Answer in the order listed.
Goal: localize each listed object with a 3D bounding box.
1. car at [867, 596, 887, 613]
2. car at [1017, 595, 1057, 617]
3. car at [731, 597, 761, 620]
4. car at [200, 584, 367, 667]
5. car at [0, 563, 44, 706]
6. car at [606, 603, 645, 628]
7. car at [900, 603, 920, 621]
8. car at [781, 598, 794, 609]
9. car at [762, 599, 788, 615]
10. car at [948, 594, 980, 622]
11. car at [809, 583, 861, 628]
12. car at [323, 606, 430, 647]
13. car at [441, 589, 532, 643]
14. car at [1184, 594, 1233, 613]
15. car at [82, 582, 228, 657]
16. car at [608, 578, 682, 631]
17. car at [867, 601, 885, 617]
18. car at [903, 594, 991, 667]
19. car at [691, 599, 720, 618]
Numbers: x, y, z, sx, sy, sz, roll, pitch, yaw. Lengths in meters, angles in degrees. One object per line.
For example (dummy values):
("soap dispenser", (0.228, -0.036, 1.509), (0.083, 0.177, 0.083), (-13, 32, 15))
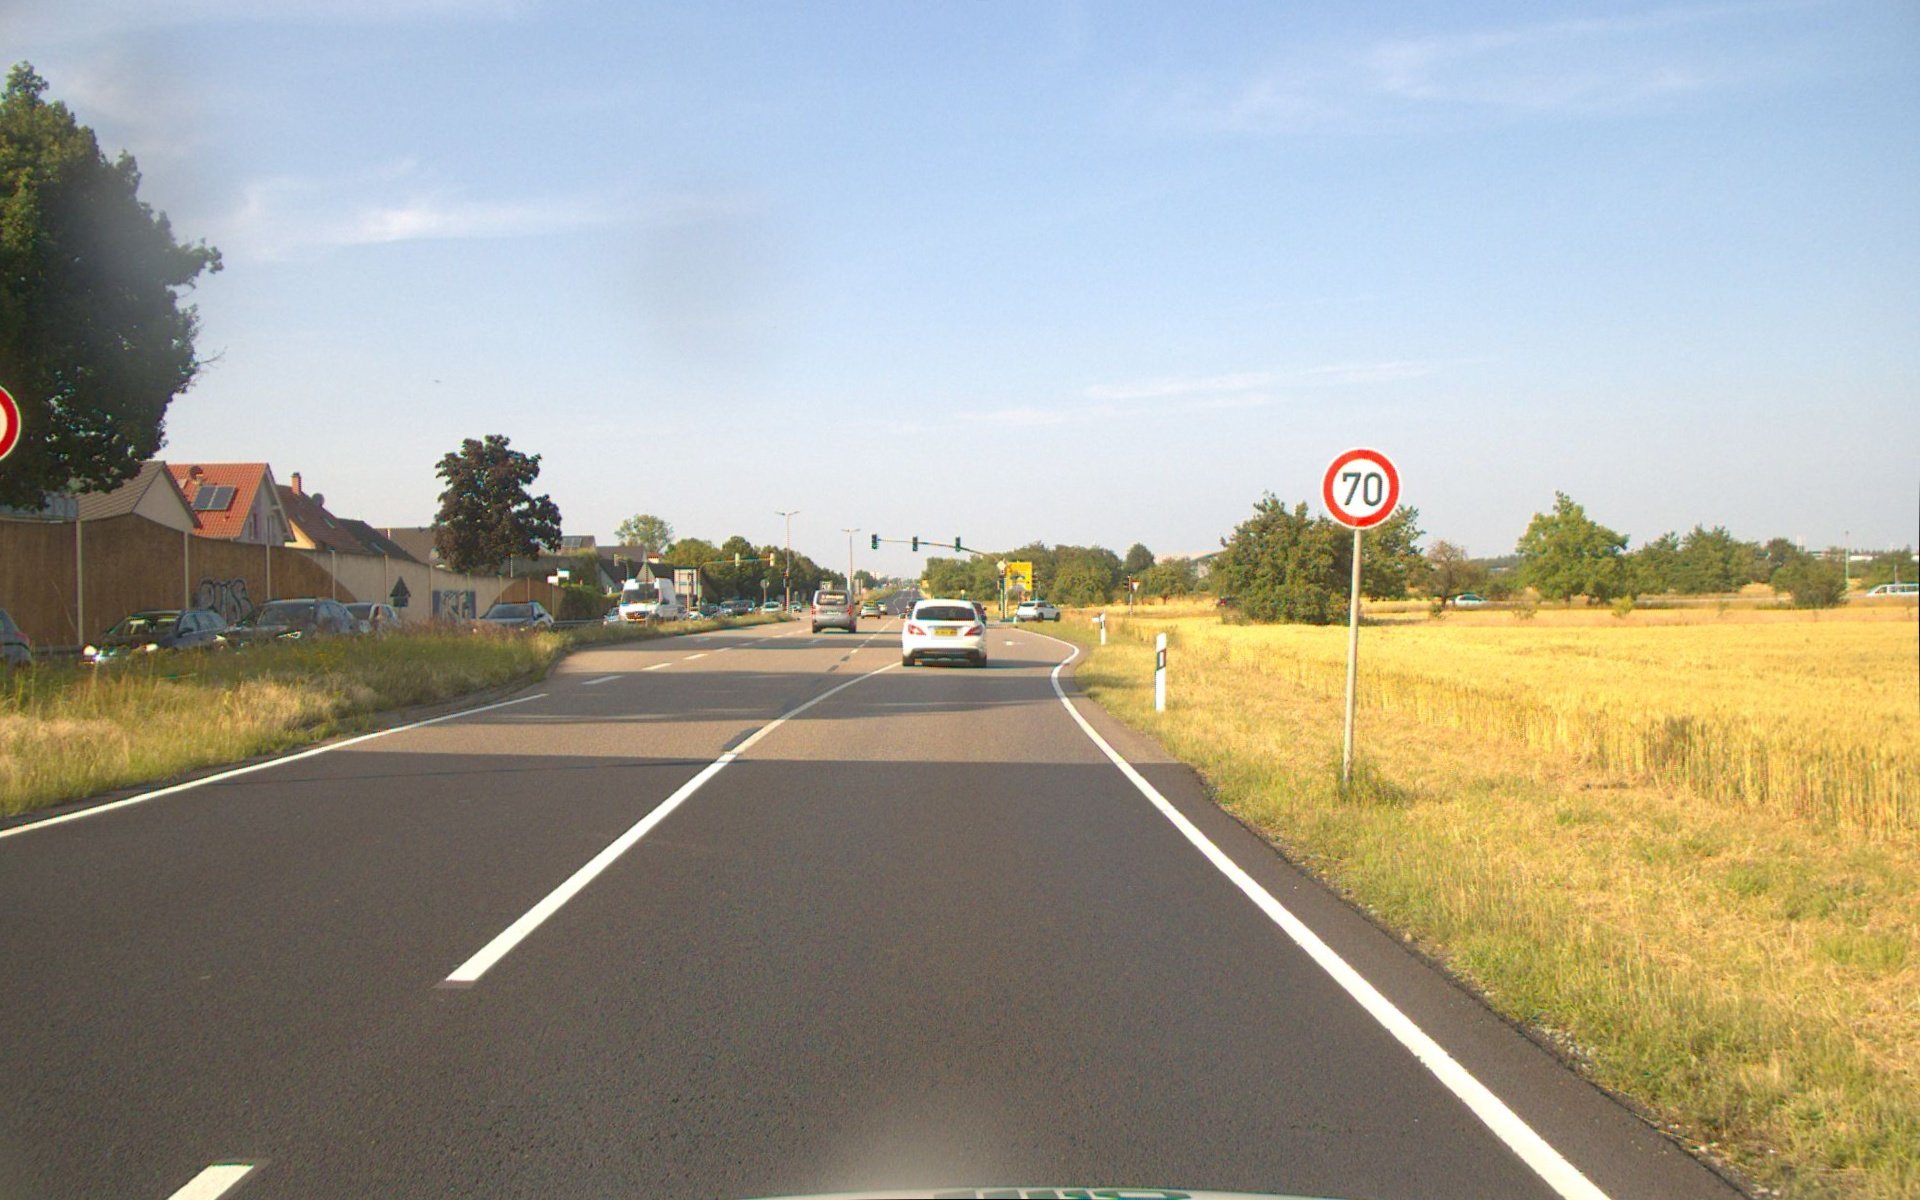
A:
("car", (-7.298, 0.391, 145.871), (1.682, 1.518, 3.584), (1, 0, -1))
("car", (5.706, 0.434, 122.405), (1.816, 1.626, 4.001), (1, 0, 20))
("car", (-15.611, 0.610, 120.956), (1.696, 1.653, 4.920), (1, 0, -2))
("car", (-13.319, 0.464, 32.847), (1.484, 1.491, 4.657), (1, 0, -1))
("car", (-13.386, 0.442, 20.488), (1.728, 1.864, 4.367), (1, 0, -2))
("car", (-18.932, 0.870, 93.745), (1.651, 1.308, 3.146), (1, 0, -2))
("car", (-4.929, 1.164, 162.822), (1.803, 1.713, 3.996), (1, 0, -5))
("car", (-23.782, 0.493, 227.971), (1.749, 1.462, 4.353), (1, 0, -5))
("car", (-16.089, 0.583, 143.847), (1.835, 1.344, 4.712), (1, 0, -2))
("car", (0.215, 0.433, 95.111), (1.718, 1.543, 3.999), (-1, 0, -1))
("car", (-5.548, 0.217, 73.770), (1.984, 1.925, 4.958), (1, 1, -1))
("car", (-17.378, 0.772, 49.489), (1.634, 1.124, 4.412), (1, 0, 0))
("car", (-13.670, 0.444, 47.939), (1.615, 1.467, 3.567), (1, 0, -1))
("car", (19.764, 0.293, 131.566), (3.607, 1.445, 1.640), (1, 0, 0))
("car", (-16.884, 0.388, 34.846), (1.484, 1.491, 3.234), (1, 0, 0))
("car", (-14.827, 0.176, 78.261), (2.301, 2.343, 7.188), (1, 0, -2))
("car", (-9.203, 0.975, 181.033), (1.741, 1.694, 3.660), (1, 0, -5))
("car", (-0.329, 0.643, 36.798), (1.856, 1.535, 3.999), (0, 0, -2))
("car", (-20.029, 0.663, 130.177), (1.676, 1.482, 3.999), (1, 0, -1))
